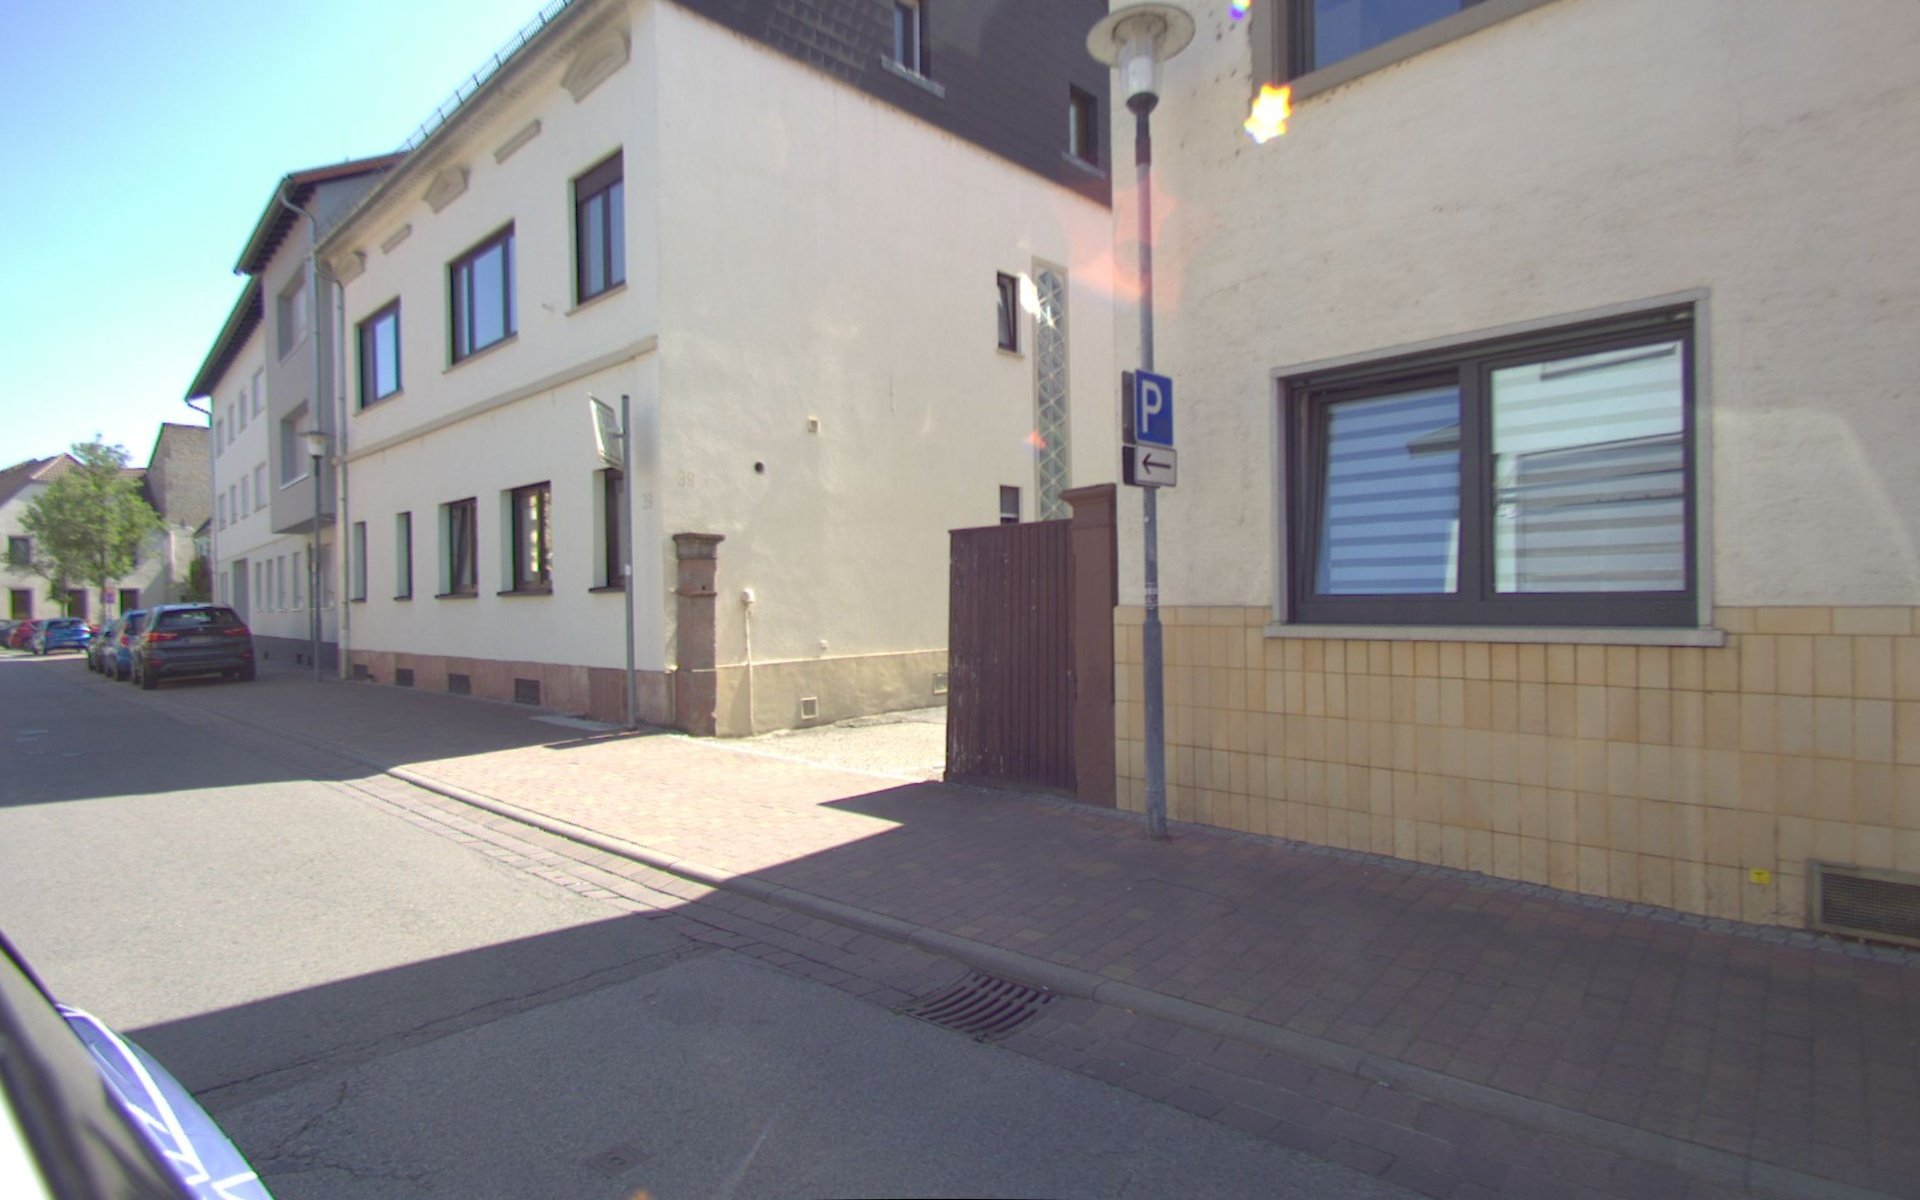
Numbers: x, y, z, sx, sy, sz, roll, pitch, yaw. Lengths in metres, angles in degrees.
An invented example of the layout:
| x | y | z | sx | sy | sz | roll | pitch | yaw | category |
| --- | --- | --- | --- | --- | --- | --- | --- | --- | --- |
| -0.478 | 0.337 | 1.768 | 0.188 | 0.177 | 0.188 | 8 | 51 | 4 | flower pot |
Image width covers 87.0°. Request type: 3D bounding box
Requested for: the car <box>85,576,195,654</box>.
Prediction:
| x | y | z | sx | sy | sz | roll | pitch | yaw | category |
| --- | --- | --- | --- | --- | --- | --- | --- | --- | --- |
| -22.451 | 0.388 | 27.651 | 1.970 | 1.962 | 4.111 | -1 | 0 | -44 | car |

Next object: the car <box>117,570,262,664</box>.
| x | y | z | sx | sy | sz | roll | pitch | yaw | category |
| --- | --- | --- | --- | --- | --- | --- | --- | --- | --- |
| -15.738 | 0.304 | 20.594 | 1.838 | 1.641 | 4.051 | -5 | 3 | -43 | car |

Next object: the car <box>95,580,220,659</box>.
| x | y | z | sx | sy | sz | roll | pitch | yaw | category |
| --- | --- | --- | --- | --- | --- | --- | --- | --- | --- |
| -19.251 | 0.427 | 24.217 | 1.890 | 1.626 | 3.989 | -5 | 3 | -44 | car |

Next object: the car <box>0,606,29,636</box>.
| x | y | z | sx | sy | sz | roll | pitch | yaw | category |
| --- | --- | --- | --- | --- | --- | --- | --- | --- | --- |
| -48.650 | 1.052 | 51.379 | 3.798 | 1.472 | 1.552 | -1 | 0 | 40 | car |

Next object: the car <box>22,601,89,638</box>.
| x | y | z | sx | sy | sz | roll | pitch | yaw | category |
| --- | --- | --- | --- | --- | --- | --- | --- | --- | --- |
| -37.735 | 0.803 | 42.196 | 3.798 | 1.472 | 1.552 | -1 | 0 | 40 | car |

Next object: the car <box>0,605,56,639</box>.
| x | y | z | sx | sy | sz | roll | pitch | yaw | category |
| --- | --- | --- | --- | --- | --- | --- | --- | --- | --- |
| -42.628 | 0.974 | 46.129 | 3.798 | 1.472 | 1.552 | -1 | 0 | 40 | car |
